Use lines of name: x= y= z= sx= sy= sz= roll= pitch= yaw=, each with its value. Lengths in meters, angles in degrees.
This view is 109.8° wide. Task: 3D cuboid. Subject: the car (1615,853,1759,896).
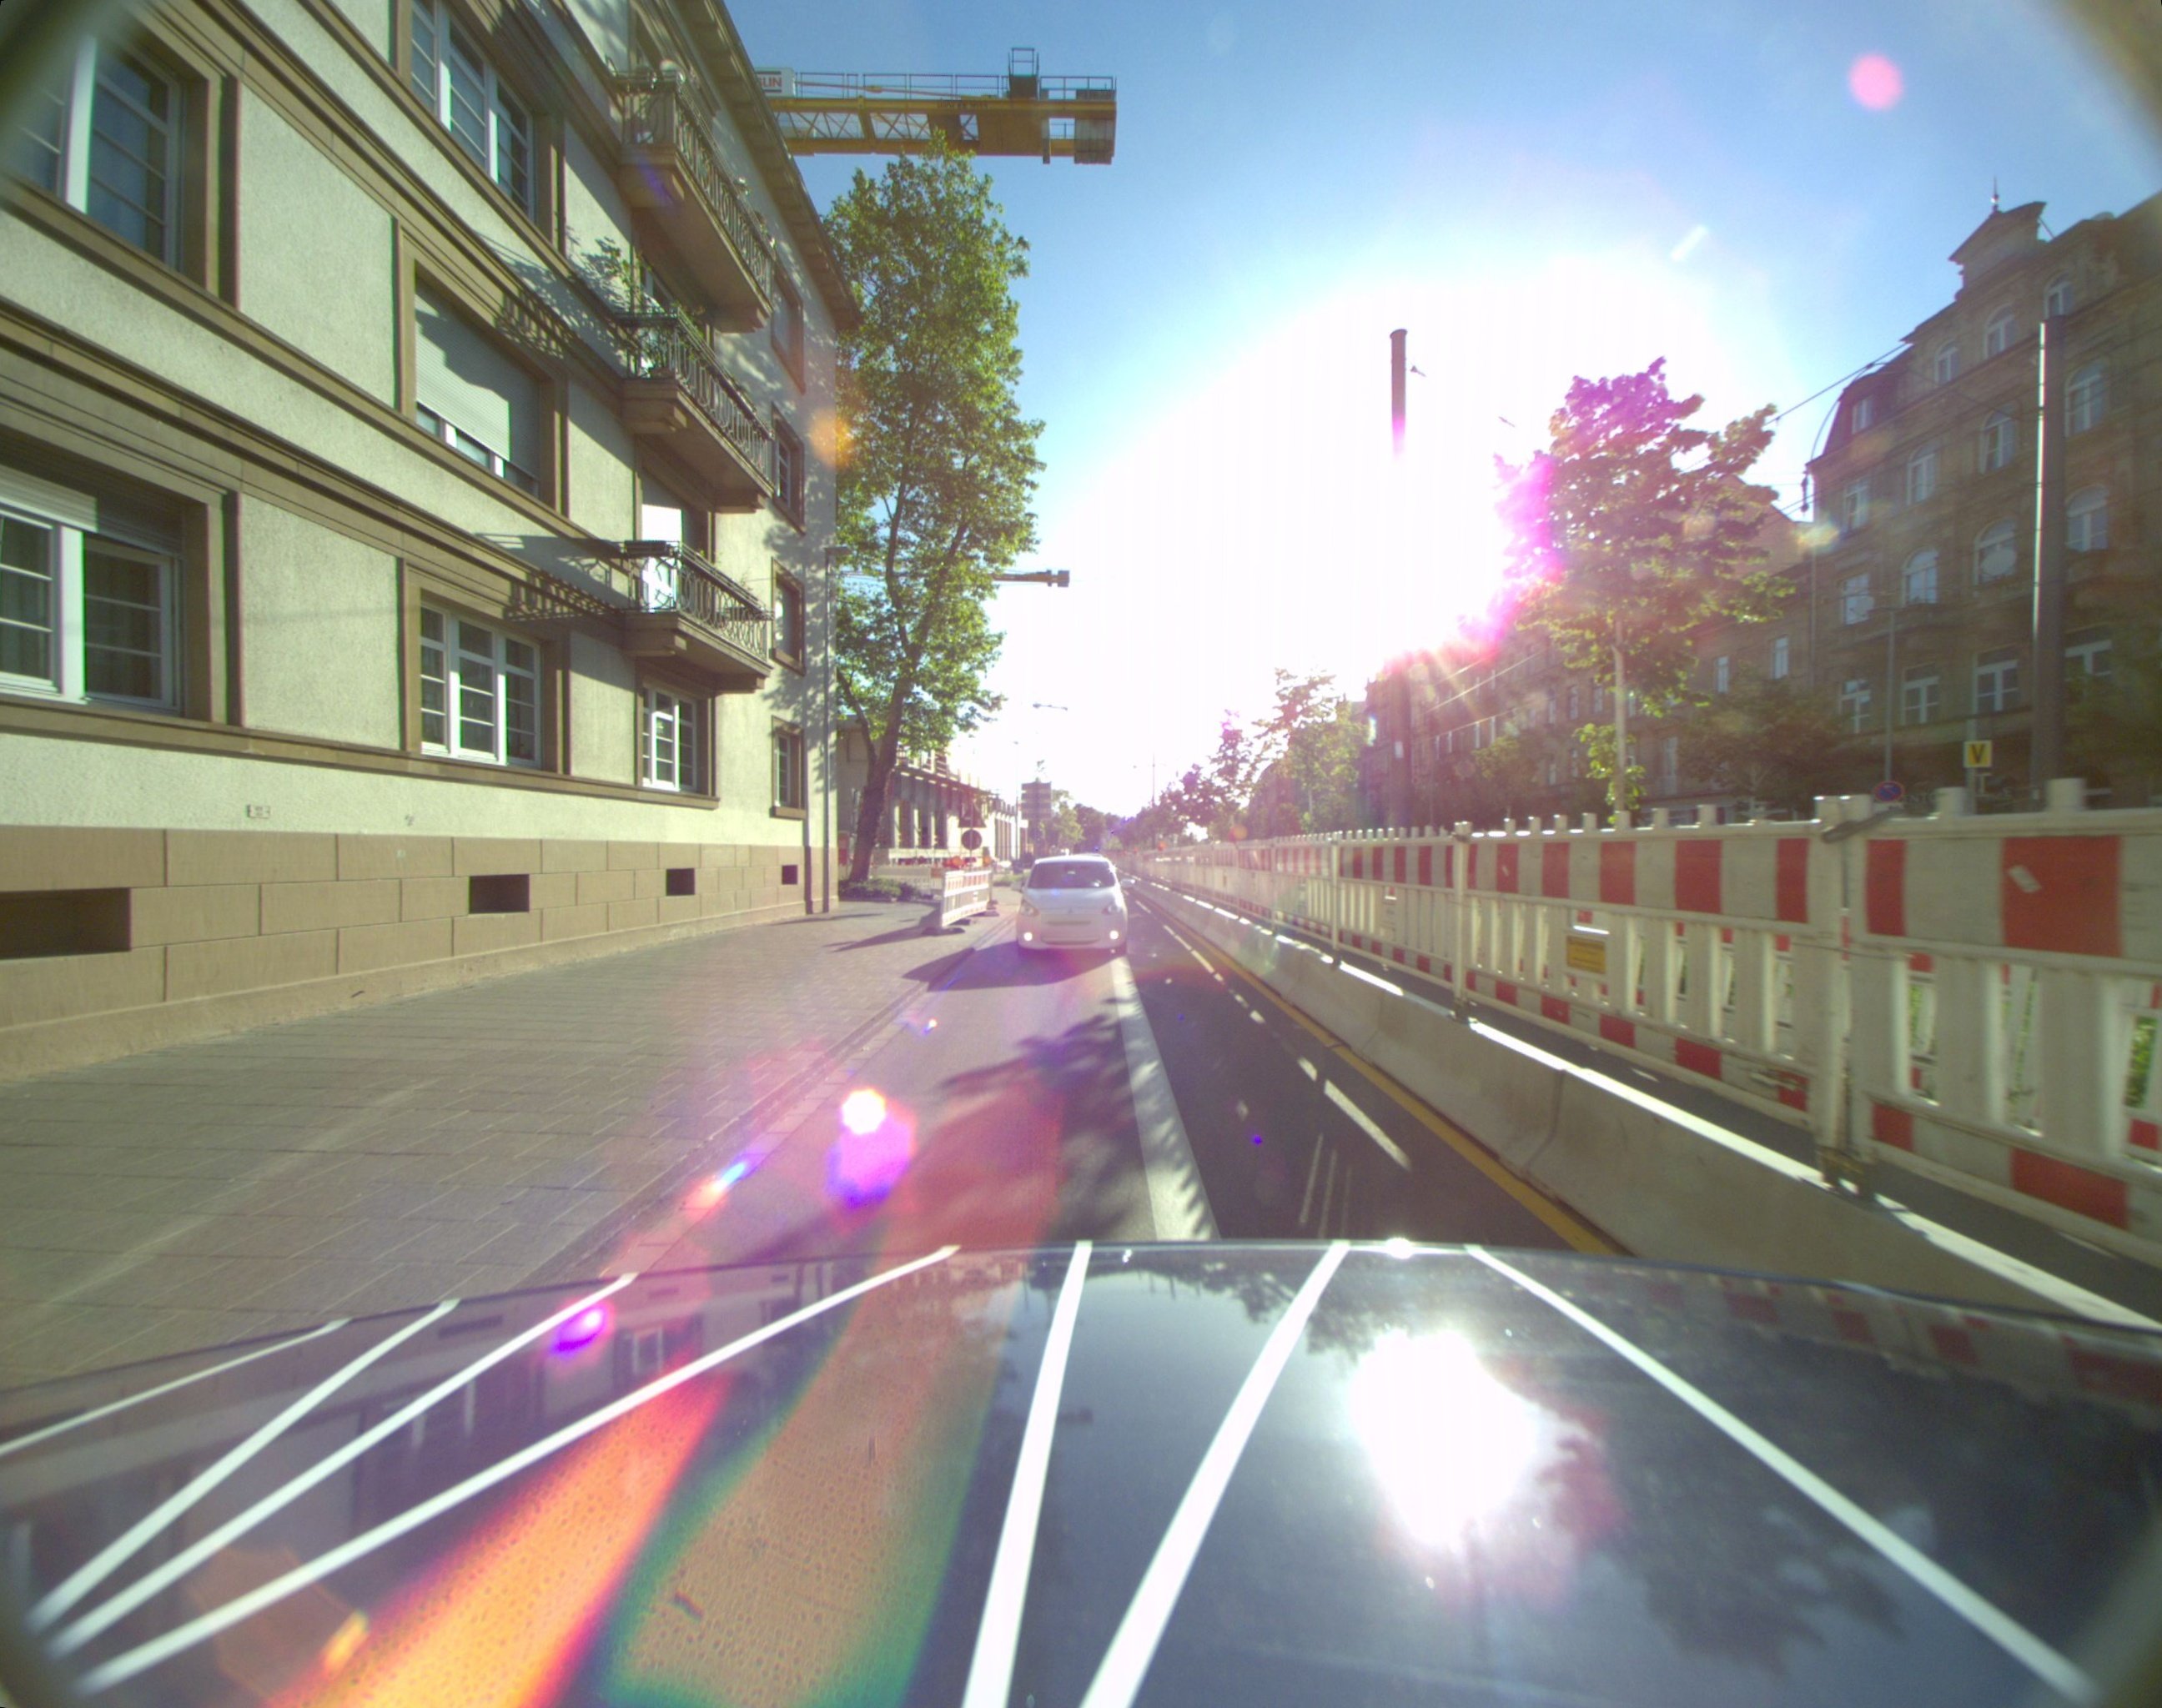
car: x=22.584 y=0.717 z=28.575 sx=1.998 sy=1.430 sz=4.308 roll=-2 pitch=0 yaw=0

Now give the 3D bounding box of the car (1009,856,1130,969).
car: x=-0.105 y=0.823 z=12.744 sx=1.634 sy=1.499 sz=4.350 roll=-2 pitch=0 yaw=1

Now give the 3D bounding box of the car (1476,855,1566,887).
car: x=23.233 y=0.856 z=40.379 sx=1.998 sy=1.529 sz=4.984 roll=-2 pitch=0 yaw=1

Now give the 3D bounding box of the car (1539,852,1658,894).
car: x=23.030 y=0.782 z=34.105 sx=1.998 sy=1.688 sz=4.887 roll=-2 pitch=0 yaw=0

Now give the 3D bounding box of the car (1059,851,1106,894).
car: x=0.077 y=0.781 z=34.231 sx=1.899 sy=1.730 sz=4.000 roll=-3 pitch=0 yaw=1

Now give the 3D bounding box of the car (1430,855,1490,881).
car: x=23.399 y=0.814 z=47.064 sx=1.753 sy=1.471 sz=4.028 roll=-2 pitch=0 yaw=1
